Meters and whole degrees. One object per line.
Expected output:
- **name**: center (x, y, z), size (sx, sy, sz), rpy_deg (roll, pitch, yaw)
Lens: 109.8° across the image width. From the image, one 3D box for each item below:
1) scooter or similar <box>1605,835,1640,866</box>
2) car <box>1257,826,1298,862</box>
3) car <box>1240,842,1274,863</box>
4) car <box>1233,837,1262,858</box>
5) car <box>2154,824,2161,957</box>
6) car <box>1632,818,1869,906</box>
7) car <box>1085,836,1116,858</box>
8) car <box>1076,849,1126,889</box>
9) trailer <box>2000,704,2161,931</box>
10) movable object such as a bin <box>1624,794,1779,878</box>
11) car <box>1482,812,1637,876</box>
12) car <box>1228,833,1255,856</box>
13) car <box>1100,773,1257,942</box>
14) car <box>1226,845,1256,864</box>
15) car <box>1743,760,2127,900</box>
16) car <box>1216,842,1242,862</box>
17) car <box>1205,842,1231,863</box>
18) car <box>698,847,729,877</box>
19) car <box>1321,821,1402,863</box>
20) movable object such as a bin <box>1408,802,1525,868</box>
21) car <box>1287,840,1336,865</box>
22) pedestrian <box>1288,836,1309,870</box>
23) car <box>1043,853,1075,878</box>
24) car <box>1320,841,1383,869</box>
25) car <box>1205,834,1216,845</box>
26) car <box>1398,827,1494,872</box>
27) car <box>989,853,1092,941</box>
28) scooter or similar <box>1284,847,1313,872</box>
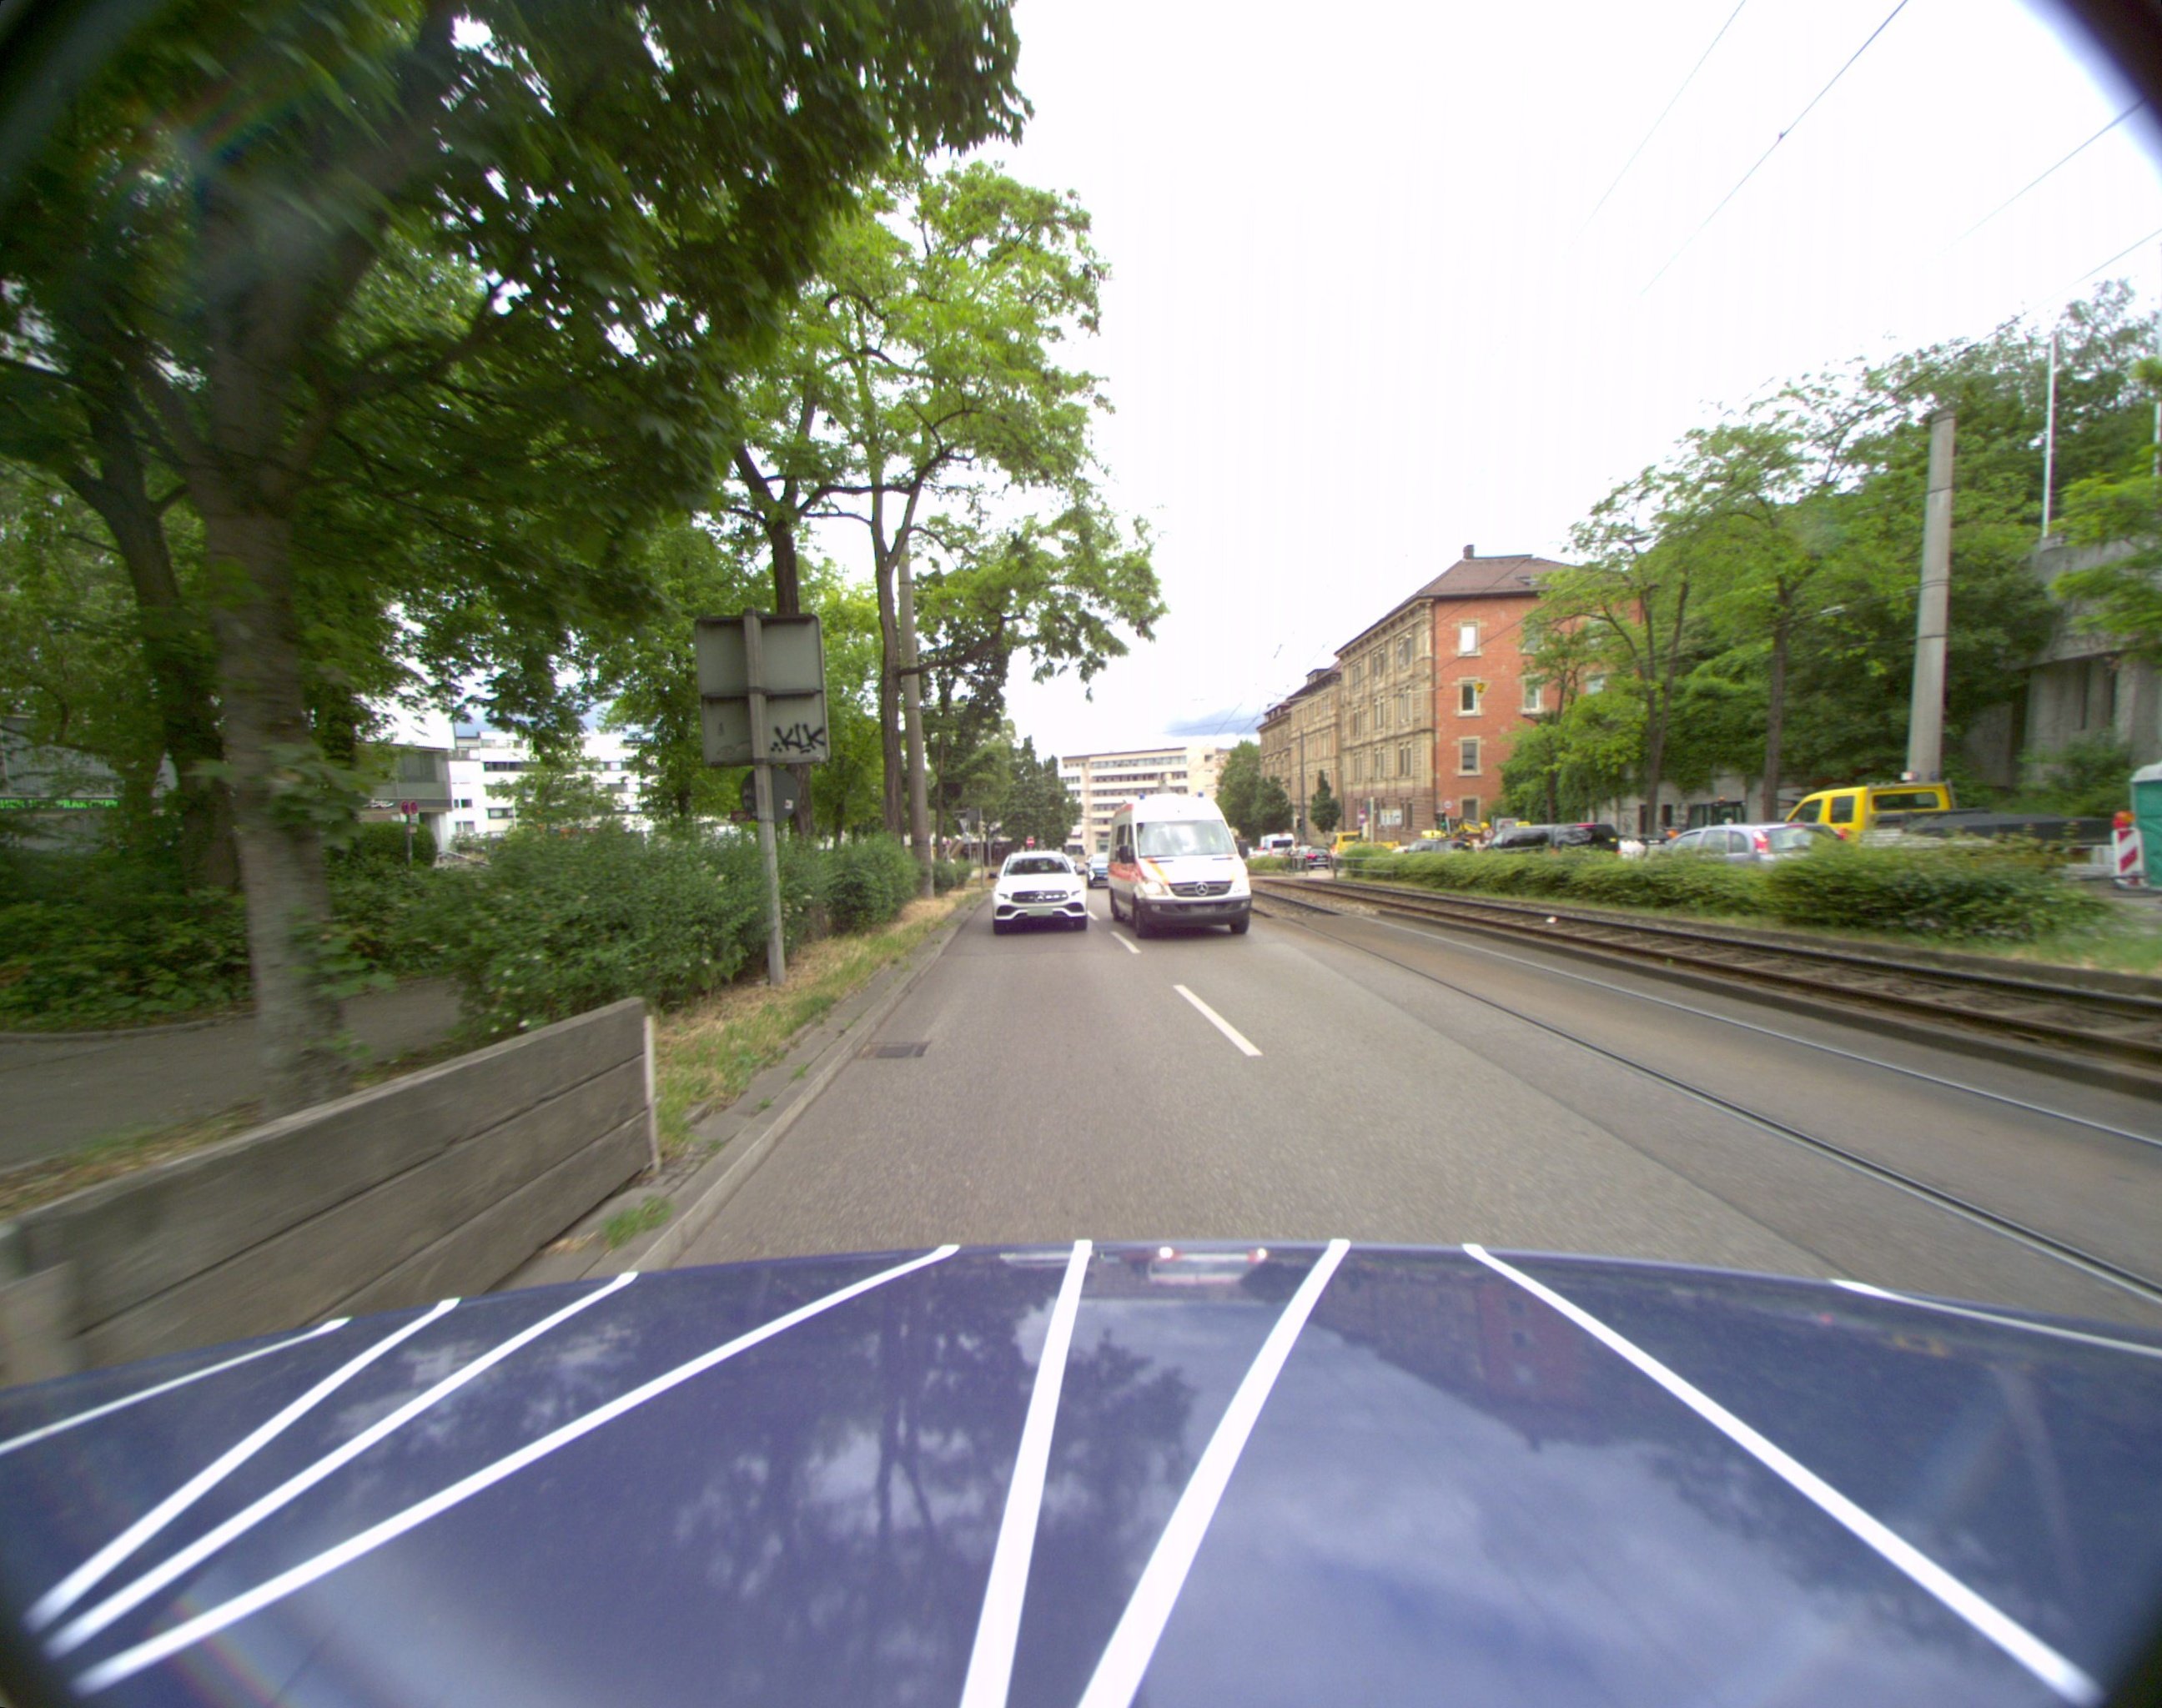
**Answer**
- **scooter or similar**: center (23.122, -0.146, 32.441), size (0.428, 1.282, 1.291), rpy_deg (-1, 0, -8)
- **car**: center (16.170, -0.824, 62.899), size (2.214, 2.806, 4.784), rpy_deg (-1, 0, 1)
- **car**: center (13.473, -0.109, 58.385), size (1.707, 1.558, 3.999), rpy_deg (-1, 0, 0)
- **car**: center (16.462, -0.647, 75.141), size (2.320, 1.928, 3.437), rpy_deg (-1, 0, 4)
- **car**: center (12.037, 0.377, 5.922), size (1.770, 1.399, 4.084), rpy_deg (-1, 0, 5)
- **car**: center (12.584, 0.126, 14.622), size (1.662, 1.435, 3.742), rpy_deg (-1, 0, 9)
- **car**: center (1.371, -0.487, 55.846), size (1.999, 1.543, 4.316), rpy_deg (-1, 0, -2)
- **car**: center (0.827, 0.625, 34.288), size (1.931, 1.563, 4.180), rpy_deg (-4, 0, -1)
- **trailer**: center (14.977, -0.512, 8.984), size (2.023, 2.956, 5.593), rpy_deg (-3, 0, 10)
- **movable object such as a bin**: center (20.241, -0.547, 25.054), size (1.937, 2.453, 4.099), rpy_deg (-3, 0, 6)
- **car**: center (13.518, -0.271, 21.850), size (1.997, 1.595, 4.612), rpy_deg (-1, 0, 8)
- **car**: center (16.602, -0.939, 78.806), size (2.241, 2.274, 4.001), rpy_deg (-1, 0, 4)
- **car**: center (1.682, 0.049, 15.390), size (2.039, 2.684, 5.852), rpy_deg (-2, 0, -3)
- **car**: center (13.477, 0.009, 64.176), size (1.871, 1.510, 3.950), rpy_deg (-1, 0, 3)
- **car**: center (18.790, -0.458, 17.451), size (2.161, 2.578, 6.338), rpy_deg (-1, 0, 6)
- **car**: center (13.517, -0.177, 69.606), size (1.840, 1.740, 4.001), rpy_deg (-1, 0, 4)
- **car**: center (13.616, -0.139, 75.700), size (1.998, 2.032, 4.001), rpy_deg (-1, 0, 4)
- **car**: center (-29.607, 0.635, 61.190), size (2.130, 2.200, 4.883), rpy_deg (-2, 0, -26)
- **car**: center (17.652, -0.727, 48.257), size (2.447, 2.422, 6.752), rpy_deg (-2, 1, -2)
- **movable object such as a bin**: center (22.234, -1.032, 44.239), size (2.755, 3.527, 6.544), rpy_deg (-1, 0, -9)
- **car**: center (14.201, -0.112, 47.042), size (1.783, 1.453, 4.000), rpy_deg (-1, 0, 0)
- **pedestrian**: center (11.705, -0.031, 40.933), size (0.742, 1.807, 0.792), rpy_deg (-1, 0, -20)
- **car**: center (-1.272, 0.662, 46.165), size (1.822, 1.441, 3.852), rpy_deg (-1, 0, 0)
- **car**: center (14.521, 0.006, 41.031), size (1.886, 1.427, 4.845), rpy_deg (0, 1, 3)
- **car**: center (21.780, -2.395, 127.666), size (1.699, 1.799, 4.003), rpy_deg (-2, 0, 11)
- **car**: center (14.356, -0.190, 30.215), size (1.997, 1.595, 4.621), rpy_deg (-1, 0, 6)
- **car**: center (-0.837, 0.809, 16.693), size (1.894, 1.610, 4.477), rpy_deg (-2, 0, -2)
- **scooter or similar**: center (11.621, 0.272, 40.579), size (1.500, 1.288, 0.532), rpy_deg (-2, 1, -28)
